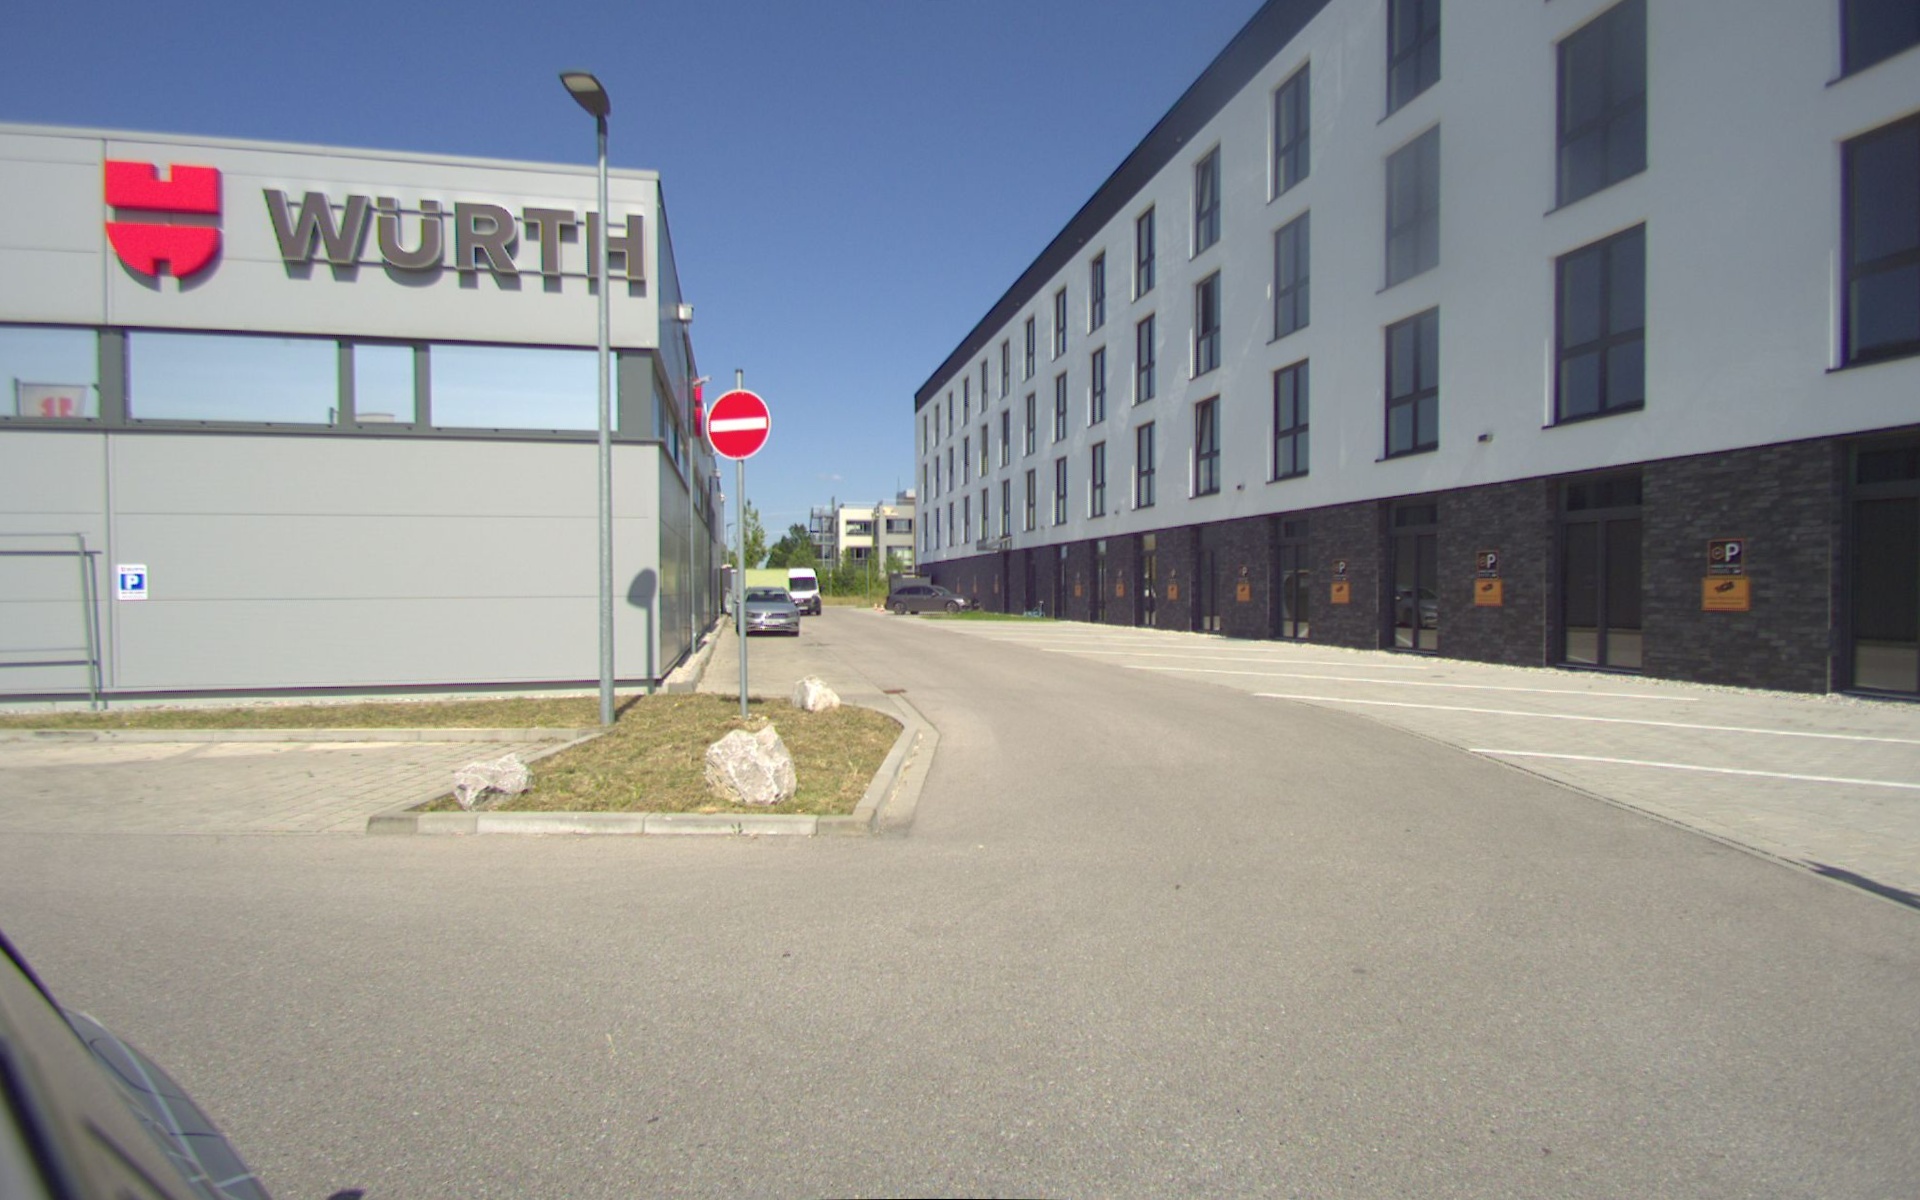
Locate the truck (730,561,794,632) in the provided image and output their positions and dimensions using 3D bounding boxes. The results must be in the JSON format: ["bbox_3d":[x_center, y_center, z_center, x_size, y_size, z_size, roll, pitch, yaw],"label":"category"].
[{"bbox_3d":[-7.361,-0.137,37.311,2.088,2.394,5.905,-1,0,-13],"label":"truck"}]

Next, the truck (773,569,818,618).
[{"bbox_3d":[-8.704,-0.339,53.256,1.967,2.394,5.905,-1,0,-13],"label":"truck"}]

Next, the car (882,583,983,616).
[{"bbox_3d":[-1.312,-0.030,48.440,4.498,1.519,1.864,-1,0,24],"label":"car"}]

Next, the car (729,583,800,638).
[{"bbox_3d":[-6.001,0.286,30.760,1.848,1.519,4.011,-1,1,-14],"label":"car"}]
